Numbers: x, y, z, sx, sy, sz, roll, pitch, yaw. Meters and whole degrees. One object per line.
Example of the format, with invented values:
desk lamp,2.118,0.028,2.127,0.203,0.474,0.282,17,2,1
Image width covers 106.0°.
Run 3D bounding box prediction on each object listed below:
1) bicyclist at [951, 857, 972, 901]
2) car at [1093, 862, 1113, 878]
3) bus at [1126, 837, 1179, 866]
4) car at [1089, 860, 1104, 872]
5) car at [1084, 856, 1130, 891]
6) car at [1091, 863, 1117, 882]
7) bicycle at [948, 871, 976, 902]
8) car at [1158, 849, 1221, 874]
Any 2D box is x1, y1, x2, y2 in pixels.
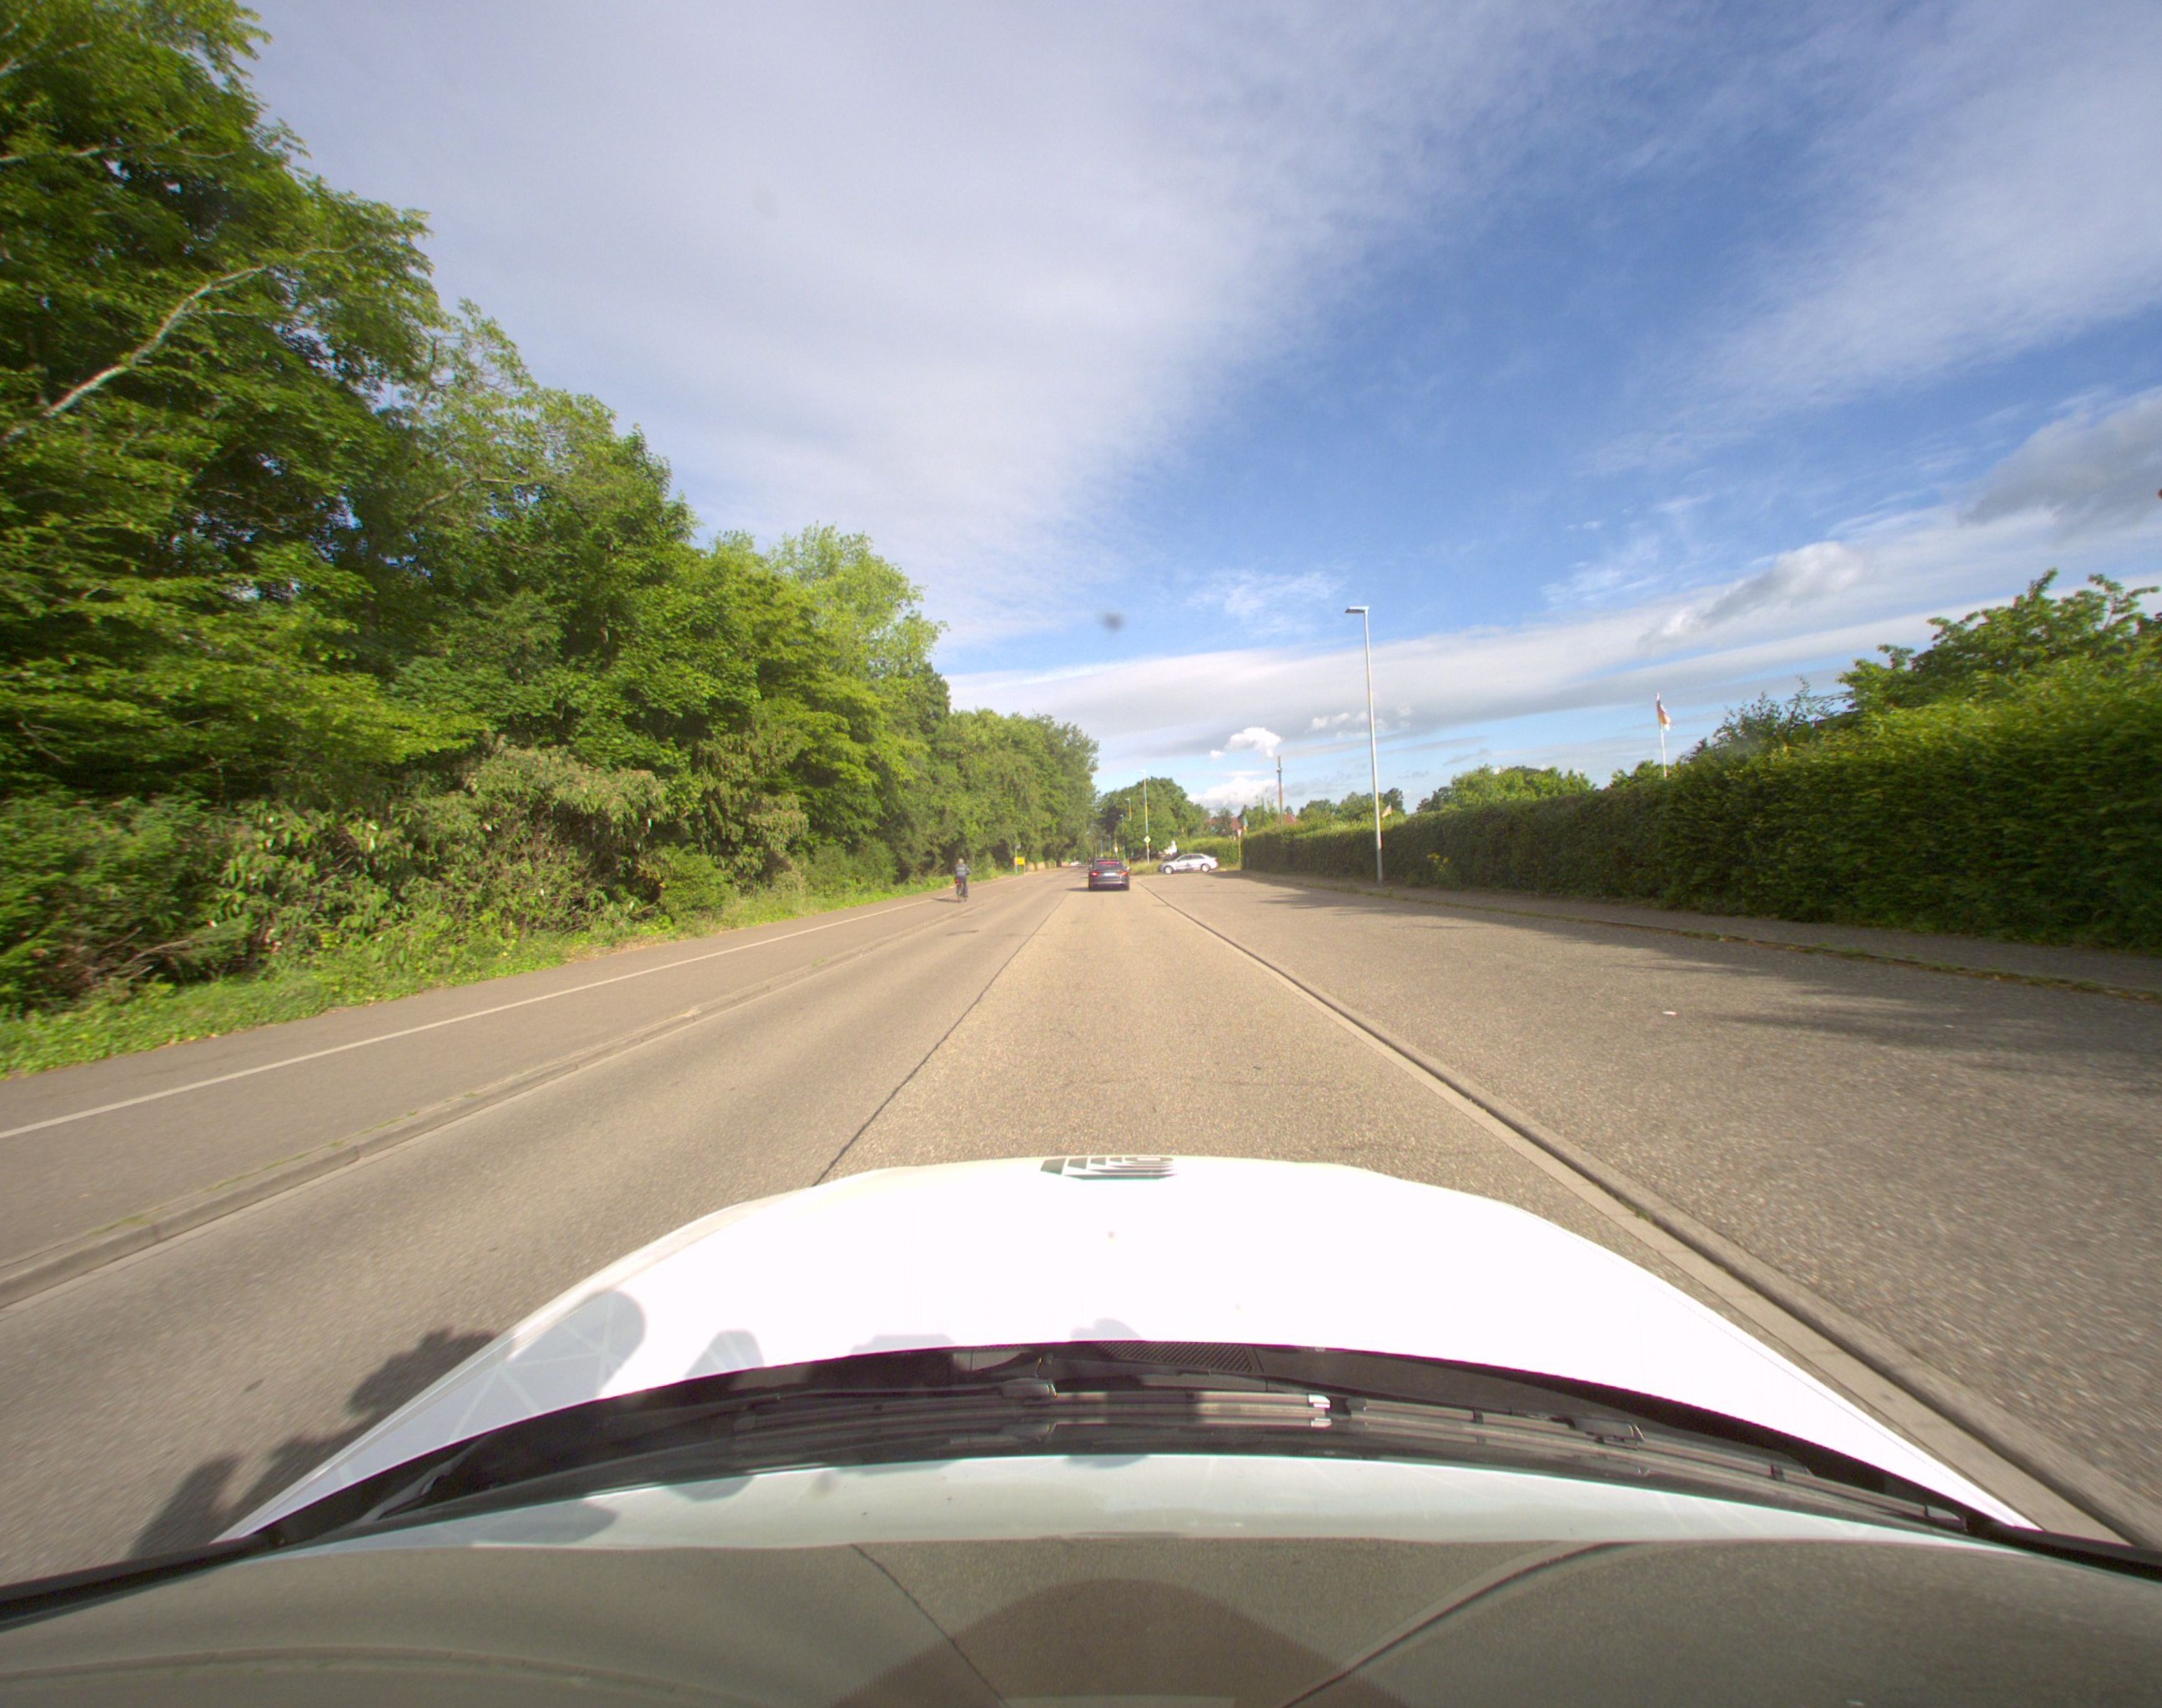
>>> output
bicyclist,-4.656,0.968,31.814,0.606,1.677,0.884,-2,0,1
car,2.260,1.658,84.534,1.880,1.465,4.054,-3,0,0
bus,7.756,-0.255,88.856,5.351,2.746,2.067,-4,0,-2
car,2.055,1.592,109.592,1.880,1.372,4.054,-3,0,0
car,1.218,0.869,37.407,1.959,1.434,4.338,-2,0,2
car,1.789,1.432,64.312,1.880,1.372,4.054,-3,0,0
bicycle,-4.637,1.261,31.935,0.660,1.097,2.349,-1,0,2
car,7.817,0.541,58.808,4.338,1.443,1.936,-4,-1,7
